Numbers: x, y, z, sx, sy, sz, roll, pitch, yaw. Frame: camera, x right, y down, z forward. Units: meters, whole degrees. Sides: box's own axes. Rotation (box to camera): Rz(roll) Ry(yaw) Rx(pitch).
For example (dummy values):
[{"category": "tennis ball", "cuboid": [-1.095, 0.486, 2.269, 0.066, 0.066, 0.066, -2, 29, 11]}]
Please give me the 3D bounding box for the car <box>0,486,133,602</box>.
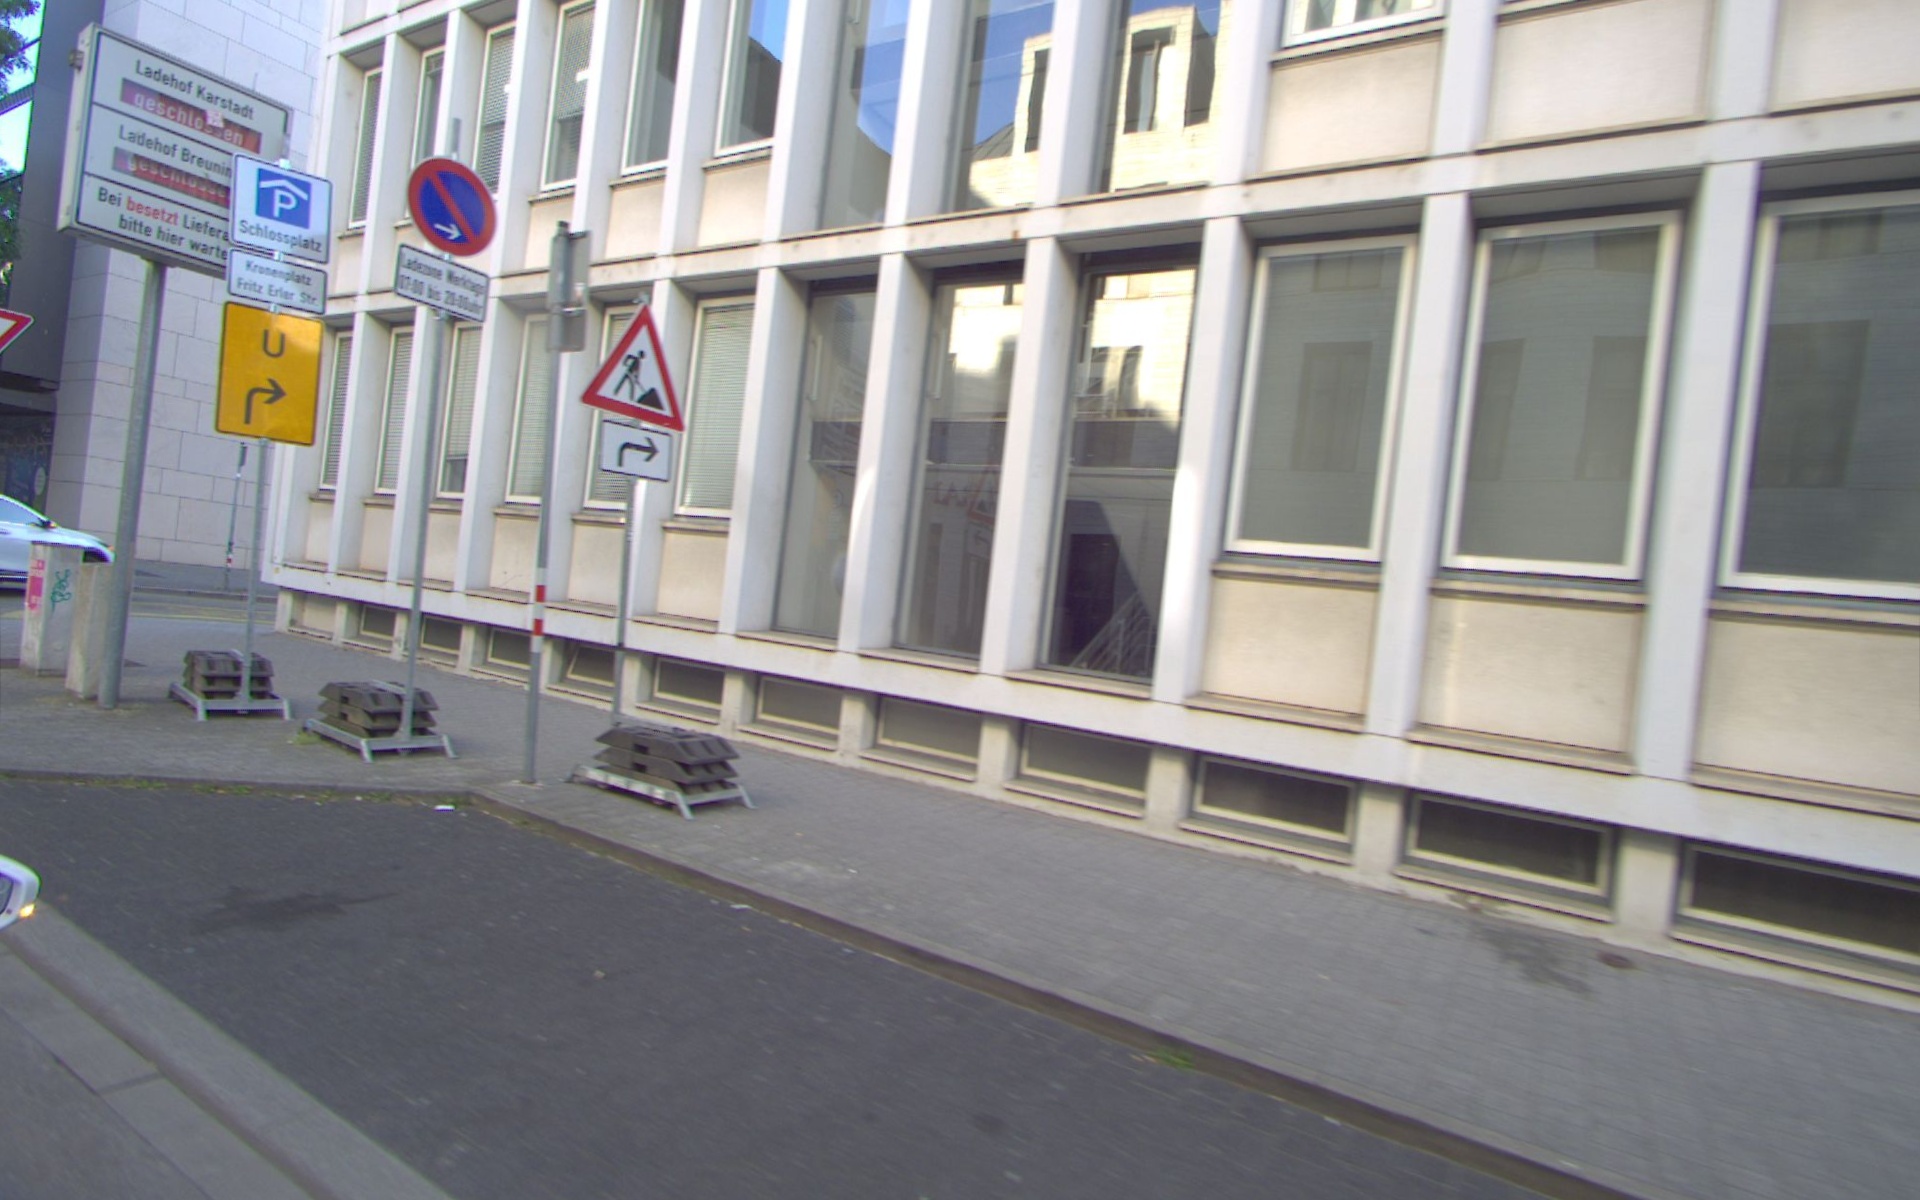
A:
[{"category": "car", "cuboid": [-14.012, -0.883, 13.755, 1.795, 1.560, 4.263, 7, -1, -1]}]
